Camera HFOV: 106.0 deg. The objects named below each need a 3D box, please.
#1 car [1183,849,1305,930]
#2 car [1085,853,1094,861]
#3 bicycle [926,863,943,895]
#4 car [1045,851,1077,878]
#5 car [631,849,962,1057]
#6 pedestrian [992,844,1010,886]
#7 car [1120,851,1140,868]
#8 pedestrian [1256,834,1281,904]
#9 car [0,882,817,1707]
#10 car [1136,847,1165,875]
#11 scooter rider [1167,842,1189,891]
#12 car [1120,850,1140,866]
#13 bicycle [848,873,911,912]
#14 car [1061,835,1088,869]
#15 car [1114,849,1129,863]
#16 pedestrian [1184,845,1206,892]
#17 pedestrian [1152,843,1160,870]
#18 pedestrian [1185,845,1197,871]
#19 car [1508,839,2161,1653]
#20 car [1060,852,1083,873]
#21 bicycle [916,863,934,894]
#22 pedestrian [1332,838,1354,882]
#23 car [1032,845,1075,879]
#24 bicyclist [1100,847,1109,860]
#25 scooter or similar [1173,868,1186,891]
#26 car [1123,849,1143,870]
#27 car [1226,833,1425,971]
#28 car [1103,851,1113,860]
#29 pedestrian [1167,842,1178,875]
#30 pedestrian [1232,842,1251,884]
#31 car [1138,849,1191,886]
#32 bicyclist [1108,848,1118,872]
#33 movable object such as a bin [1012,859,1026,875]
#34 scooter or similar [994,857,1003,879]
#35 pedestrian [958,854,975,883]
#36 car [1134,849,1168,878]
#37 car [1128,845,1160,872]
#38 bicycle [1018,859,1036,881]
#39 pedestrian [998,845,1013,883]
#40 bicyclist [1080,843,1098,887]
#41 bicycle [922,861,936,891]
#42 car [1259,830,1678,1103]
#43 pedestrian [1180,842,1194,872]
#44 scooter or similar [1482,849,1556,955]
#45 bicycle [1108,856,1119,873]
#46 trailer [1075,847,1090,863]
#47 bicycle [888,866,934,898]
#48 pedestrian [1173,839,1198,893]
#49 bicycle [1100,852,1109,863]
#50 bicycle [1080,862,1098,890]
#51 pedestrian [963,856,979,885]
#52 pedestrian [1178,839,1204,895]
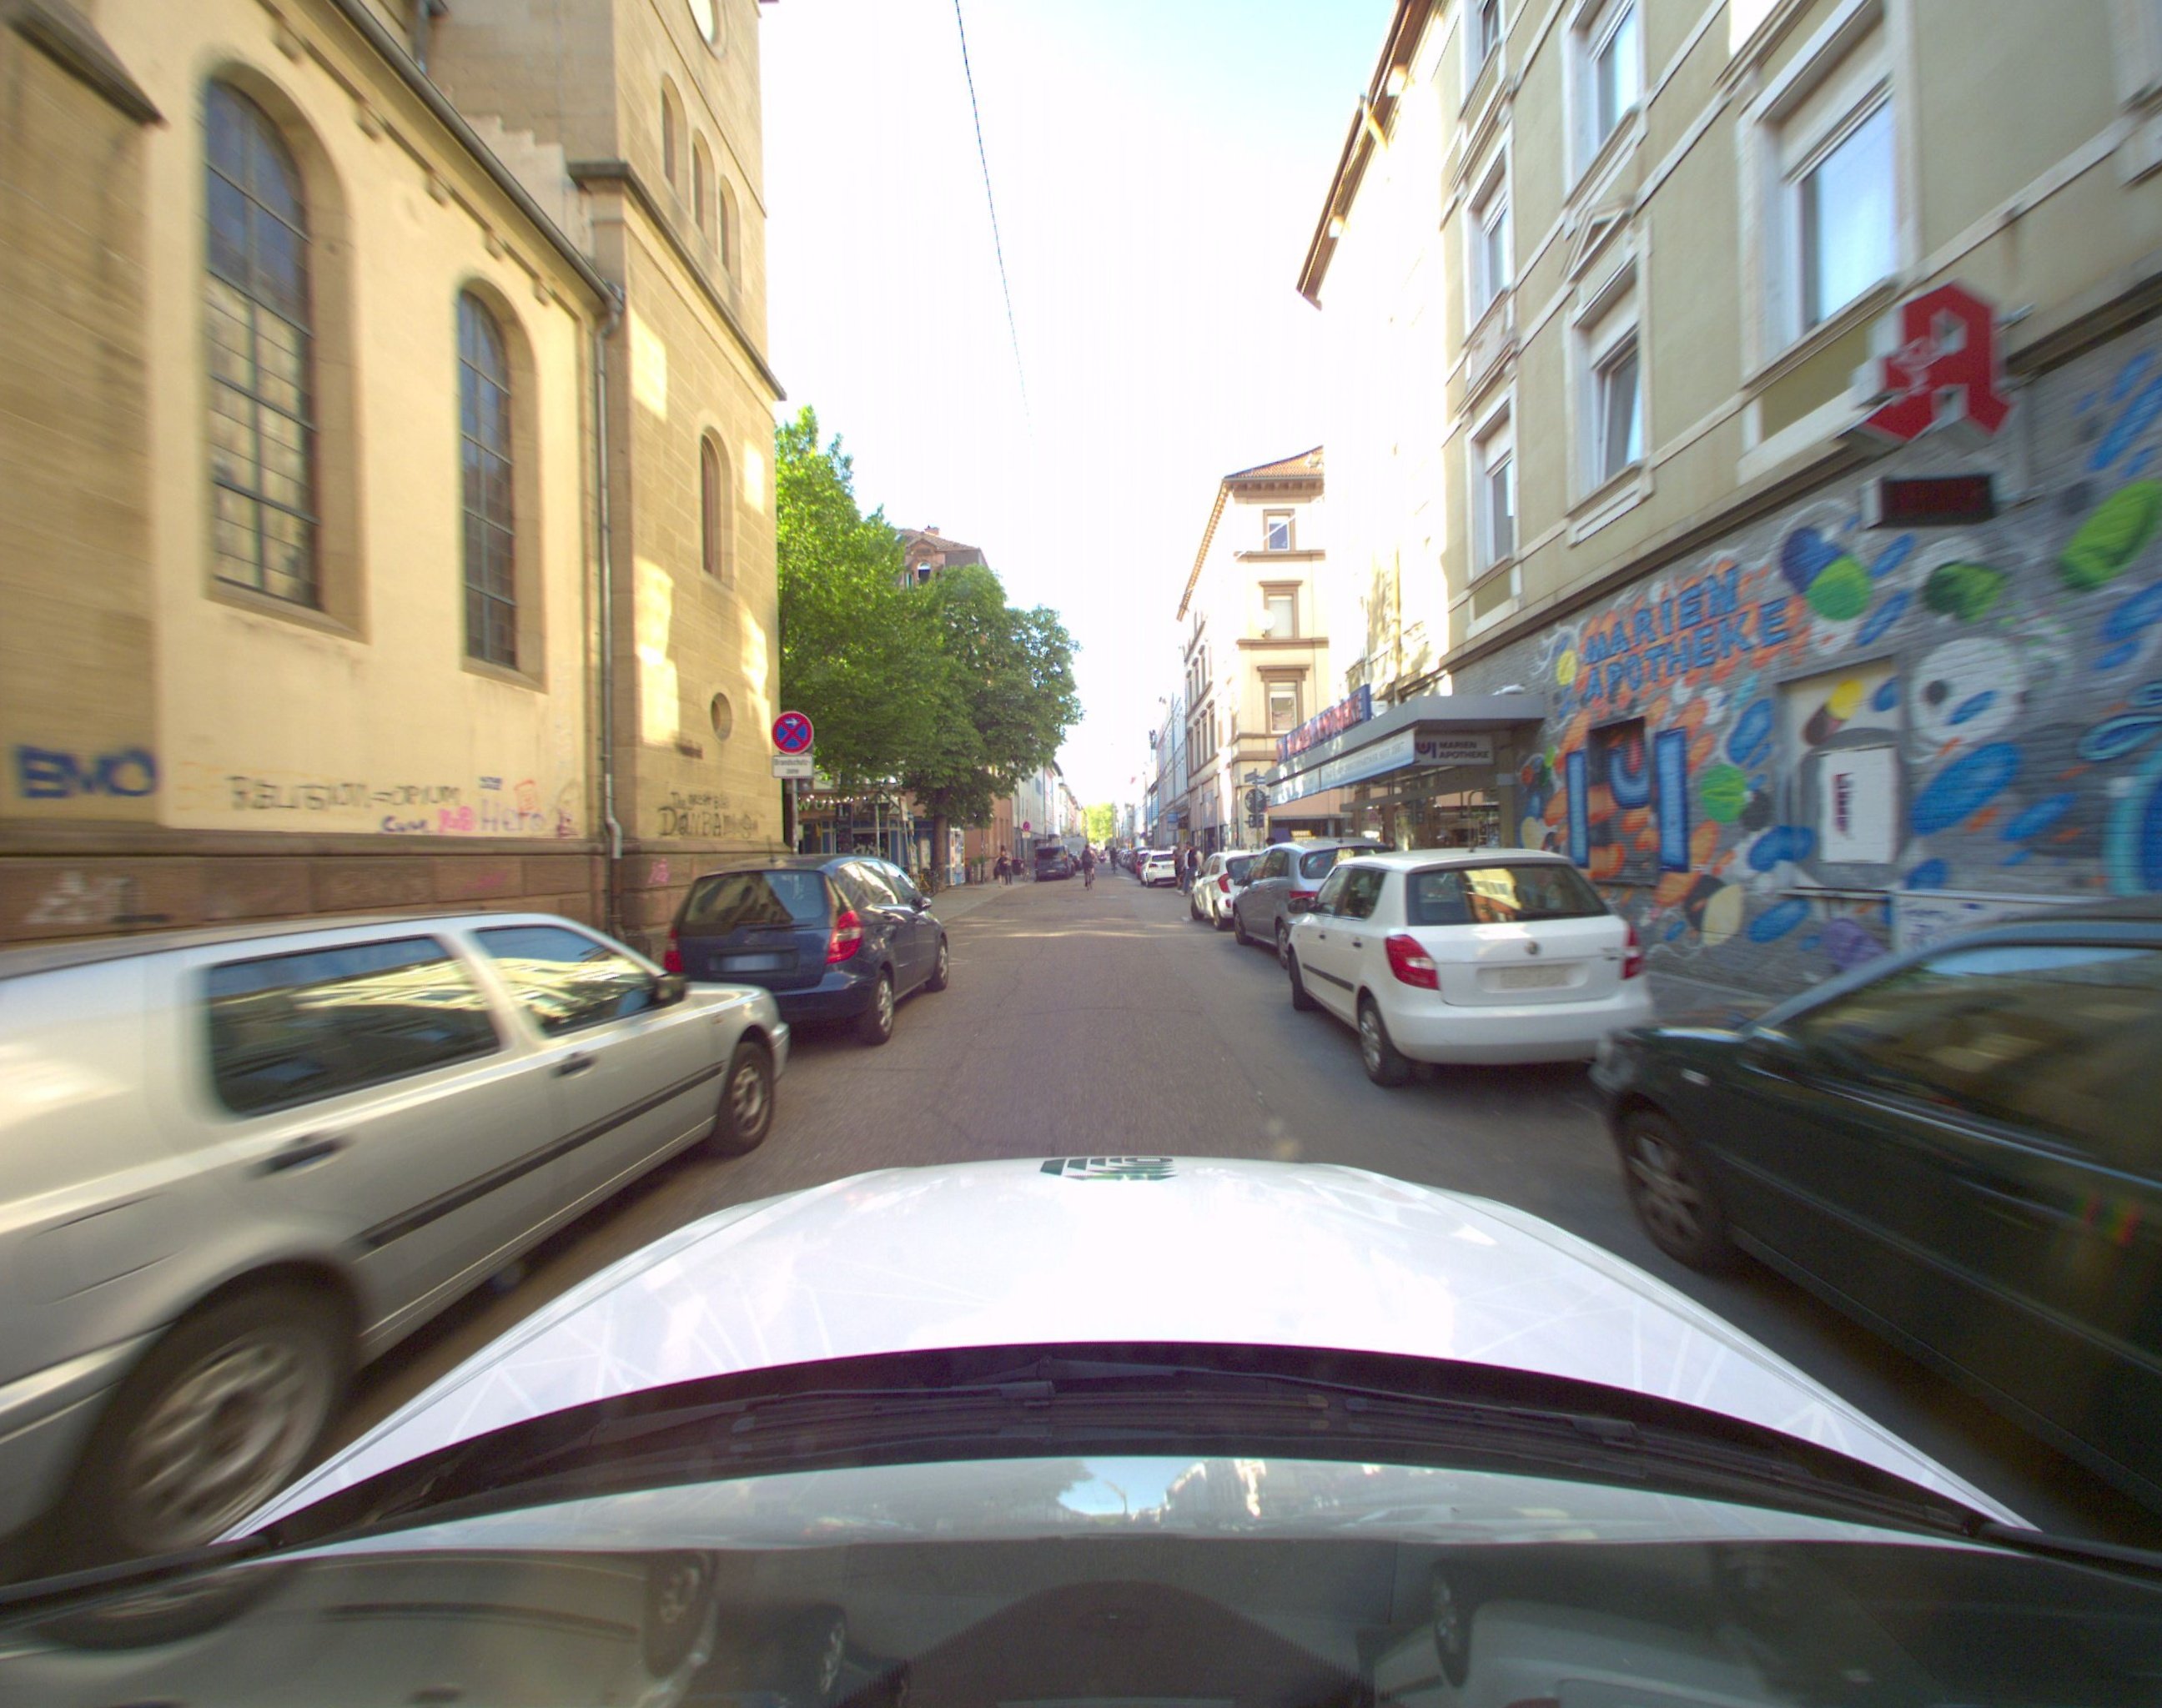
[{"bbox_3d":[3.191,0.660,16.603,1.684,1.463,3.638,0,-1,-1],"label":"car"},{"bbox_3d":[1.739,0.633,168.502,1.744,1.683,3.796,-2,-1,1],"label":"car"},{"bbox_3d":[-5.349,0.883,29.700,0.291,1.082,1.579,0,1,2],"label":"bicycle"},{"bbox_3d":[-1.280,0.683,52.804,1.744,1.522,3.870,-4,-1,1],"label":"car"},{"bbox_3d":[-2.420,0.757,8.024,1.787,1.552,3.835,0,-1,2],"label":"car"},{"bbox_3d":[-3.561,0.483,36.199,0.714,1.873,0.720,0,-1,1],"label":"pedestrian"},{"bbox_3d":[4.766,0.558,79.980,1.680,1.543,4.046,-3,-1,1],"label":"car"},{"bbox_3d":[5.119,0.408,22.237,0.560,1.894,0.530,0,-1,1],"label":"pedestrian"},{"bbox_3d":[-2.565,0.851,3.125,1.566,1.364,4.149,0,0,3],"label":"car"},{"bbox_3d":[4.259,0.439,50.102,1.563,1.556,3.317,-4,-1,3],"label":"car"},{"bbox_3d":[3.595,0.470,30.054,0.558,1.778,0.615,-1,-1,36],"label":"scooter rider"},{"bbox_3d":[5.266,0.432,88.079,1.911,1.706,4.367,-1,0,1],"label":"car"},{"bbox_3d":[-5.635,1.061,22.817,1.684,1.065,0.346,0,-1,-1],"label":"bicycle"},{"bbox_3d":[-0.573,-0.162,85.654,2.335,3.291,7.157,-3,-1,2],"label":"car"},{"bbox_3d":[5.545,0.313,111.694,1.745,1.879,3.970,-2,-1,-1],"label":"car"},{"bbox_3d":[4.039,0.510,28.861,0.568,1.638,0.522,0,-1,-45],"label":"pedestrian"},{"bbox_3d":[4.876,0.159,52.846,0.439,1.704,0.655,0,-1,2],"label":"pedestrian"},{"bbox_3d":[6.469,0.243,48.053,0.586,1.529,0.658,0,-1,-4],"label":"pedestrian"},{"bbox_3d":[2.800,0.715,2.081,1.580,1.487,3.916,0,-1,4],"label":"car"},{"bbox_3d":[-0.781,0.699,69.216,1.711,1.478,4.500,-4,1,1],"label":"car"},{"bbox_3d":[-5.675,0.888,29.712,0.291,1.046,1.579,0,1,2],"label":"bicycle"},{"bbox_3d":[10.358,0.241,32.218,0.688,1.726,0.475,0,-1,0],"label":"pedestrian"},{"bbox_3d":[-1.542,0.420,47.595,2.012,1.879,5.301,0,0,3],"label":"car"},{"bbox_3d":[2.998,-0.087,103.877,0.947,1.628,0.953,-3,0,2],"label":"bicyclist"},{"bbox_3d":[3.583,0.914,29.782,0.392,0.828,0.926,0,-1,2],"label":"scooter or similar"},{"bbox_3d":[4.363,0.432,68.931,1.551,1.712,3.559,0,-1,1],"label":"car"},{"bbox_3d":[3.311,0.597,11.850,1.694,1.650,4.063,0,-1,0],"label":"car"},{"bbox_3d":[4.832,0.196,145.281,1.605,1.560,3.611,-1,0,1],"label":"car"},{"bbox_3d":[4.834,0.250,42.959,0.559,1.740,0.428,0,-1,1],"label":"pedestrian"},{"bbox_3d":[6.386,0.346,32.390,0.593,1.650,0.468,-1,2,32],"label":"pedestrian"},{"bbox_3d":[3.529,0.566,35.061,1.781,1.516,4.135,0,-1,-1],"label":"car"},{"bbox_3d":[2.175,0.393,54.938,0.668,1.567,0.717,0,-1,2],"label":"bicyclist"},{"bbox_3d":[-4.150,0.842,54.671,0.752,1.067,0.655,-1,-1,21],"label":"movable object such as a bin"},{"bbox_3d":[-4.680,0.764,46.044,0.346,1.216,1.392,0,-1,1],"label":"scooter or similar"},{"bbox_3d":[-5.632,0.709,40.037,0.703,1.445,0.617,0,-1,0],"label":"pedestrian"},{"bbox_3d":[3.848,0.524,45.205,1.601,1.572,3.554,0,-1,1],"label":"car"},{"bbox_3d":[4.287,0.331,55.912,1.892,1.793,4.315,0,-1,1],"label":"car"},{"bbox_3d":[-2.974,0.871,44.783,0.551,1.216,1.977,0,-1,-16],"label":"bicycle"},{"bbox_3d":[-3.675,0.490,39.795,0.644,1.834,0.697,1,-1,1],"label":"pedestrian"},{"bbox_3d":[0.328,0.428,32.053,0.665,1.677,1.097,0,-1,1],"label":"bicyclist"},{"bbox_3d":[-6.116,0.853,32.716,0.497,1.131,2.029,0,0,-12],"label":"bicycle"},{"bbox_3d":[2.638,0.652,6.689,1.548,1.526,4.202,0,-1,2],"label":"car"},{"bbox_3d":[6.338,0.179,48.782,0.629,1.740,0.656,0,-1,-12],"label":"pedestrian"},{"bbox_3d":[5.541,0.582,10.344,0.393,1.280,1.037,0,-1,1],"label":"scooter or similar"},{"bbox_3d":[2.182,0.685,54.953,0.646,1.129,2.136,0,-1,1],"label":"bicycle"},{"bbox_3d":[0.217,0.166,115.101,1.875,2.092,3.738,-2,-1,1],"label":"trailer"},{"bbox_3d":[-5.978,0.983,28.646,1.563,1.082,0.348,-1,-1,11],"label":"bicycle"},{"bbox_3d":[3.596,0.406,27.965,0.759,1.835,0.688,0,-1,-1],"label":"pedestrian"},{"bbox_3d":[3.037,0.412,103.908,0.973,1.314,2.557,-3,0,3],"label":"bicycle"},{"bbox_3d":[0.332,0.858,32.082,0.674,1.074,1.942,0,-1,1],"label":"bicycle"},{"bbox_3d":[-5.504,0.841,40.829,0.703,1.445,0.617,0,-1,0],"label":"pedestrian"},{"bbox_3d":[3.655,0.421,27.046,0.691,1.825,1.003,-1,0,0],"label":"pedestrian"}]
